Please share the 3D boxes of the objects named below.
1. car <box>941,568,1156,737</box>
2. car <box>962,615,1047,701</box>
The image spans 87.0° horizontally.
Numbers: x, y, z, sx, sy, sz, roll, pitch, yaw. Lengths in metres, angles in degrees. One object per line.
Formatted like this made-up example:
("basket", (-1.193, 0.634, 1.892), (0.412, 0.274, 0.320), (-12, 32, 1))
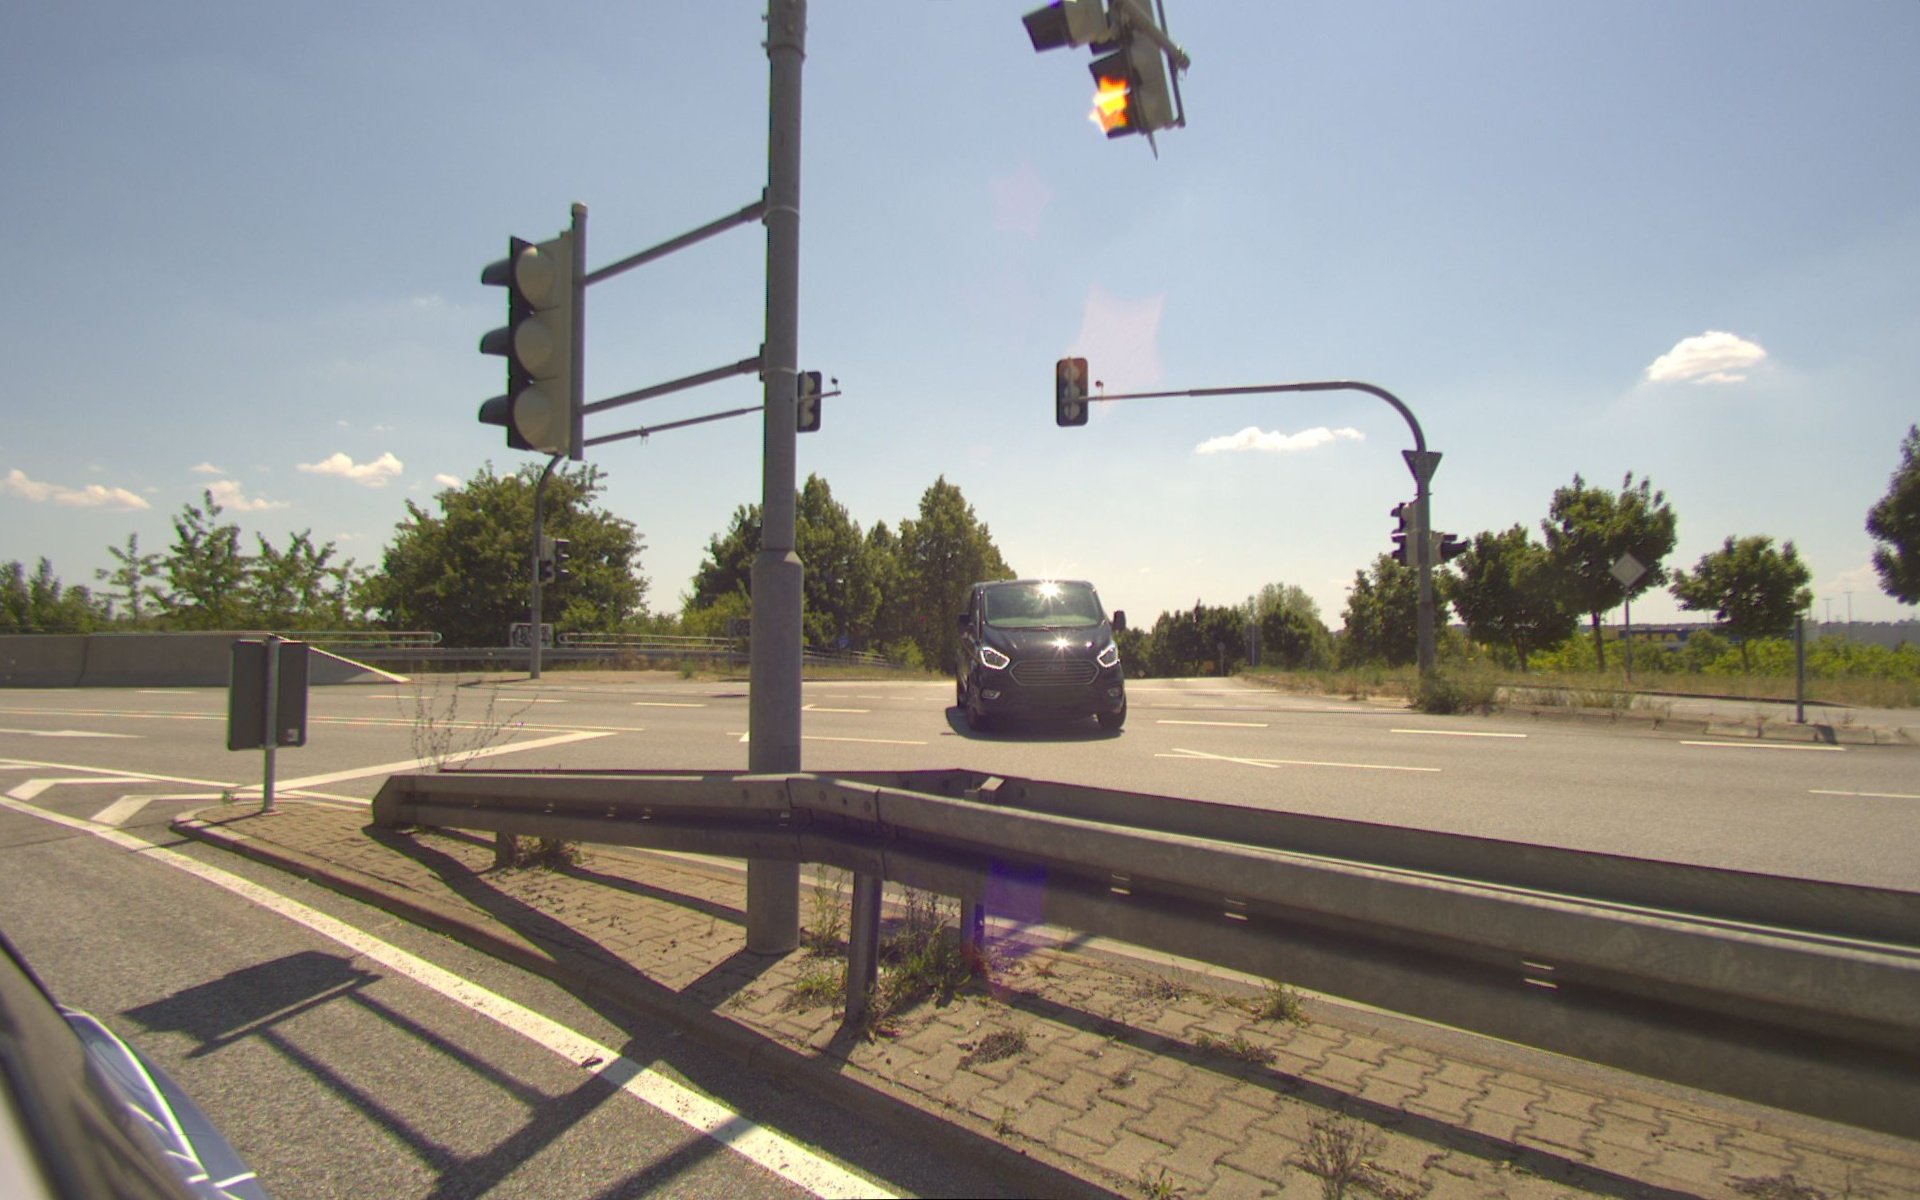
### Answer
("car", (0.990, 0.679, 14.592), (2.093, 1.952, 5.417), (-1, -2, -6))
("car", (1.175, 1.453, 25.565), (1.920, 1.934, 4.527), (1, -3, 4))
